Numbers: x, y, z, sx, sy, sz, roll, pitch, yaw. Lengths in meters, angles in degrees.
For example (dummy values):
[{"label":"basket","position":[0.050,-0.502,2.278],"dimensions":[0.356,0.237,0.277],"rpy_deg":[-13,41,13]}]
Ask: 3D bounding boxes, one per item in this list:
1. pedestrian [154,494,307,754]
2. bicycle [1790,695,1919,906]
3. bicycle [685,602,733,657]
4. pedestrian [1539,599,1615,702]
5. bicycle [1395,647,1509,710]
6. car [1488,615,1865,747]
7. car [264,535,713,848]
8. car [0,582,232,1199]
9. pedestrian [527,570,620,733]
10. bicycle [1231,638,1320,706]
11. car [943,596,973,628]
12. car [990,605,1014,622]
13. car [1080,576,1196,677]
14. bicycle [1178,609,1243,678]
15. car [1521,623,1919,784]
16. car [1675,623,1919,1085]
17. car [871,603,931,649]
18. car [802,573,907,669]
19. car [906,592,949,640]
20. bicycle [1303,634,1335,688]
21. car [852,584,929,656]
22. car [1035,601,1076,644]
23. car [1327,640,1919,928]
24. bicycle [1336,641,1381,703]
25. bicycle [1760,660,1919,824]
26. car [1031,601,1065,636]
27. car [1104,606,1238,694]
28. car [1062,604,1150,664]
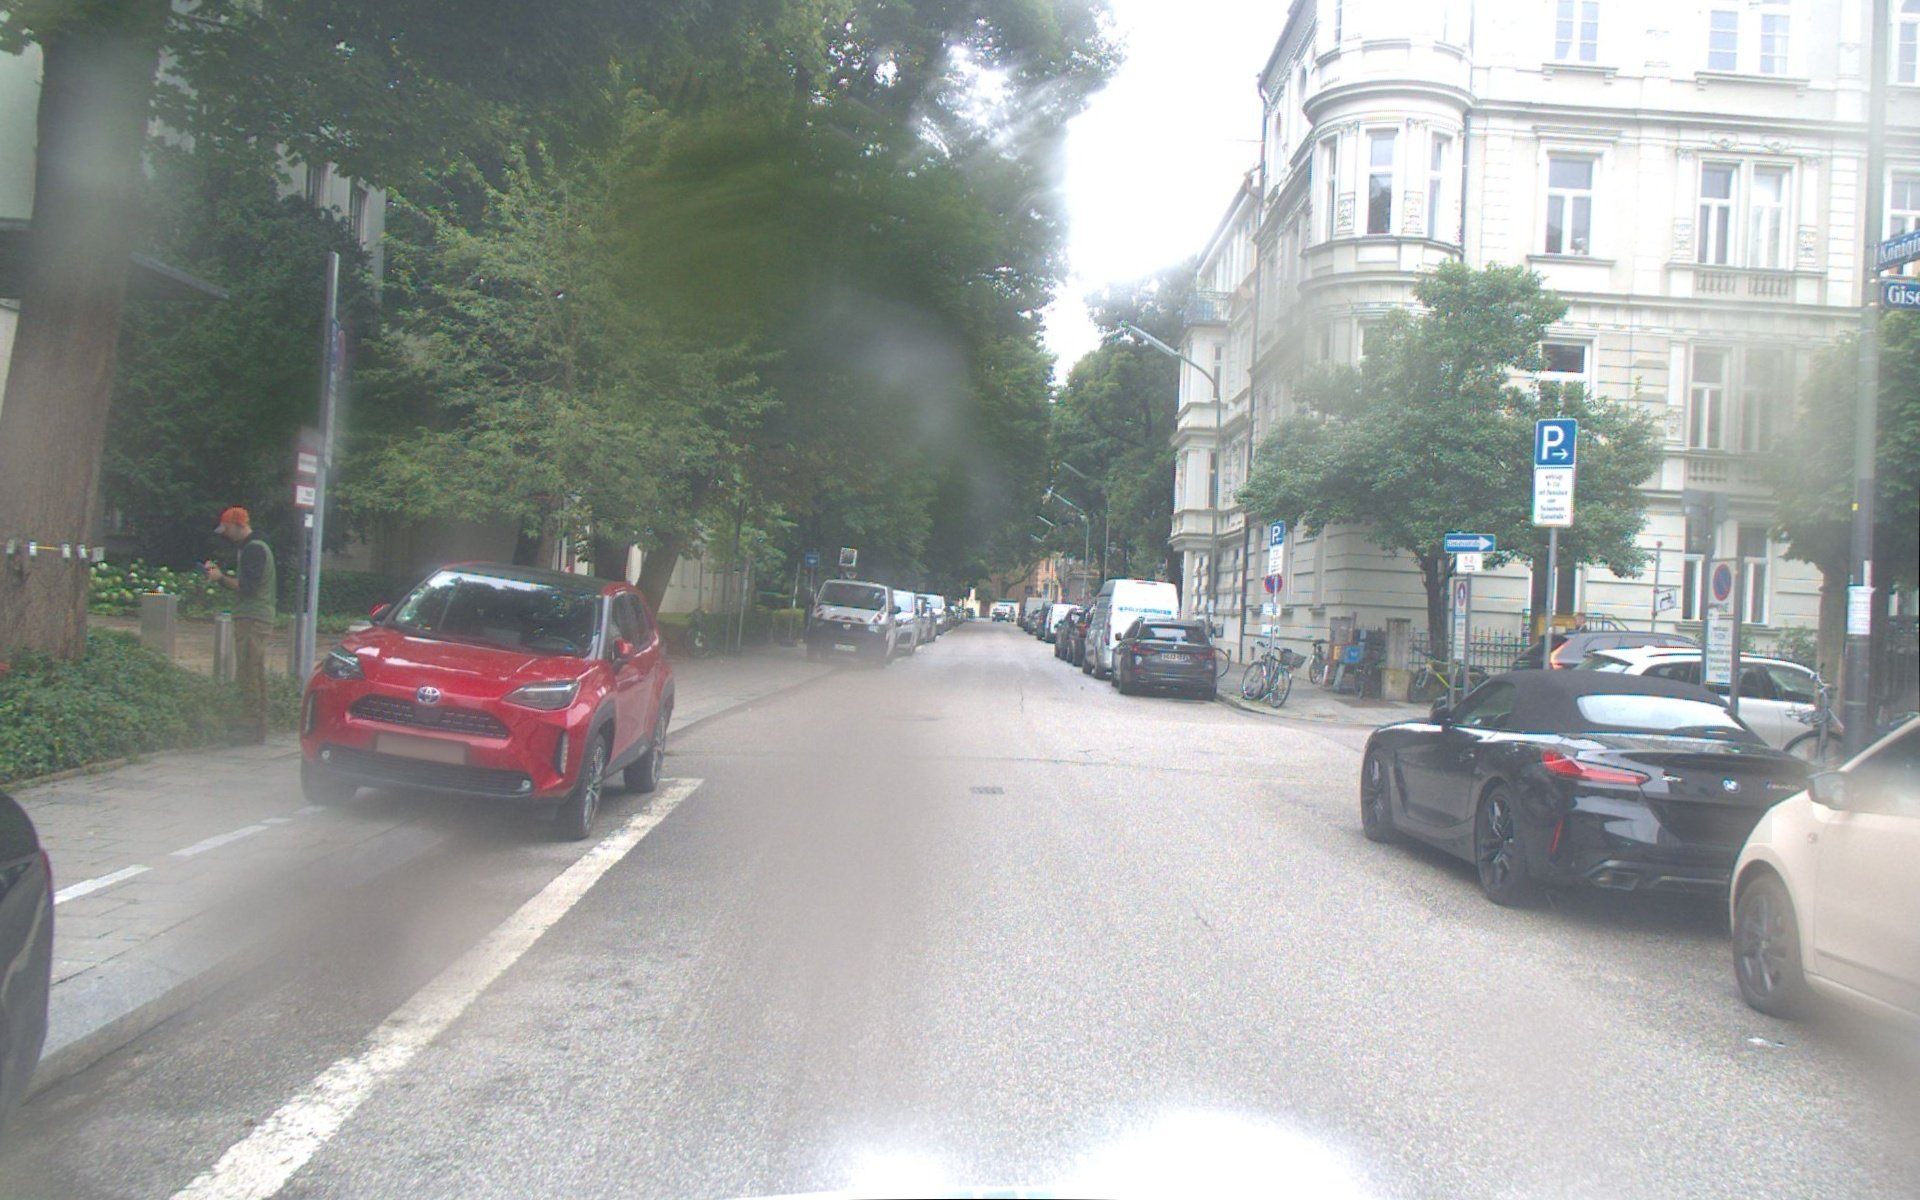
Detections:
[{"label":"pedestrian","position":[-5.578,0.183,12.697],"dimensions":[0.698,1.885,0.796],"rpy_deg":[4,-1,-1]},{"label":"bicycle","position":[5.793,1.186,10.062],"dimensions":[0.649,1.082,1.940],"rpy_deg":[2,0,5]},{"label":"bicycle","position":[-5.439,0.631,35.931],"dimensions":[0.619,1.122,1.767],"rpy_deg":[4,-1,2]},{"label":"pedestrian","position":[10.609,0.865,28.449],"dimensions":[0.952,1.719,0.860],"rpy_deg":[1,-1,-1]},{"label":"bicycle","position":[8.979,1.430,30.226],"dimensions":[1.882,1.046,0.557],"rpy_deg":[2,1,3]},{"label":"car","position":[10.879,1.257,25.334],"dimensions":[4.936,1.681,1.942],"rpy_deg":[3,-4,-2]},{"label":"car","position":[-2.954,0.518,11.464],"dimensions":[1.849,1.618,4.526],"rpy_deg":[4,0,-2]},{"label":"car","position":[-2.619,0.643,1.737],"dimensions":[1.772,1.426,4.919],"rpy_deg":[4,0,-5]},{"label":"pedestrian","position":[-3.934,0.519,16.892],"dimensions":[0.700,1.575,0.752],"rpy_deg":[4,-1,-5]},{"label":"bicycle","position":[5.562,1.251,29.321],"dimensions":[0.643,1.046,2.194],"rpy_deg":[2,1,-15]},{"label":"car","position":[-0.160,0.903,124.451],"dimensions":[2.006,2.192,4.312],"rpy_deg":[4,0,-2]},{"label":"car","position":[4.538,1.479,179.275],"dimensions":[1.951,1.814,4.003],"rpy_deg":[2,0,11]},{"label":"car","position":[4.193,0.624,39.751],"dimensions":[2.159,2.247,4.854],"rpy_deg":[1,-1,-1]},{"label":"bicycle","position":[5.924,1.024,39.246],"dimensions":[0.696,1.542,2.030],"rpy_deg":[3,0,-16]},{"label":"car","position":[9.372,1.197,19.506],"dimensions":[4.807,1.558,1.913],"rpy_deg":[2,2,-2]},{"label":"car","position":[4.237,0.990,5.781],"dimensions":[1.735,1.572,3.711],"rpy_deg":[7,0,0]},{"label":"car","position":[-2.203,0.959,62.768],"dimensions":[2.027,1.546,4.237],"rpy_deg":[4,0,0]},{"label":"car","position":[-2.460,0.474,39.641],"dimensions":[2.203,1.990,5.451],"rpy_deg":[4,0,-2]},{"label":"car","position":[-1.617,0.802,84.365],"dimensions":[1.961,2.224,4.695],"rpy_deg":[4,0,0]},{"label":"bicycle","position":[7.609,1.283,35.104],"dimensions":[0.534,1.079,1.752],"rpy_deg":[2,0,10]},{"label":"car","position":[-2.136,0.596,51.361],"dimensions":[2.140,1.990,5.164],"rpy_deg":[4,0,-2]},{"label":"car","position":[4.763,1.105,82.799],"dimensions":[1.952,2.010,4.001],"rpy_deg":[2,0,3]},{"label":"car","position":[3.919,0.986,10.649],"dimensions":[1.959,1.342,4.593],"rpy_deg":[0,0,-2]},{"label":"bicycle","position":[7.585,1.357,31.549],"dimensions":[0.421,1.046,1.891],"rpy_deg":[2,1,2]},{"label":"bicycle","position":[7.597,1.169,14.073],"dimensions":[0.531,1.247,1.774],"rpy_deg":[2,-1,-7]},{"label":"car","position":[5.422,1.120,101.984],"dimensions":[1.952,2.049,4.001],"rpy_deg":[2,0,3]},{"label":"car","position":[4.088,0.944,32.784],"dimensions":[2.225,1.573,4.588],"rpy_deg":[1,-1,2]},{"label":"car","position":[4.242,0.978,48.592],"dimensions":[2.095,1.658,4.314],"rpy_deg":[1,-1,-1]}]
